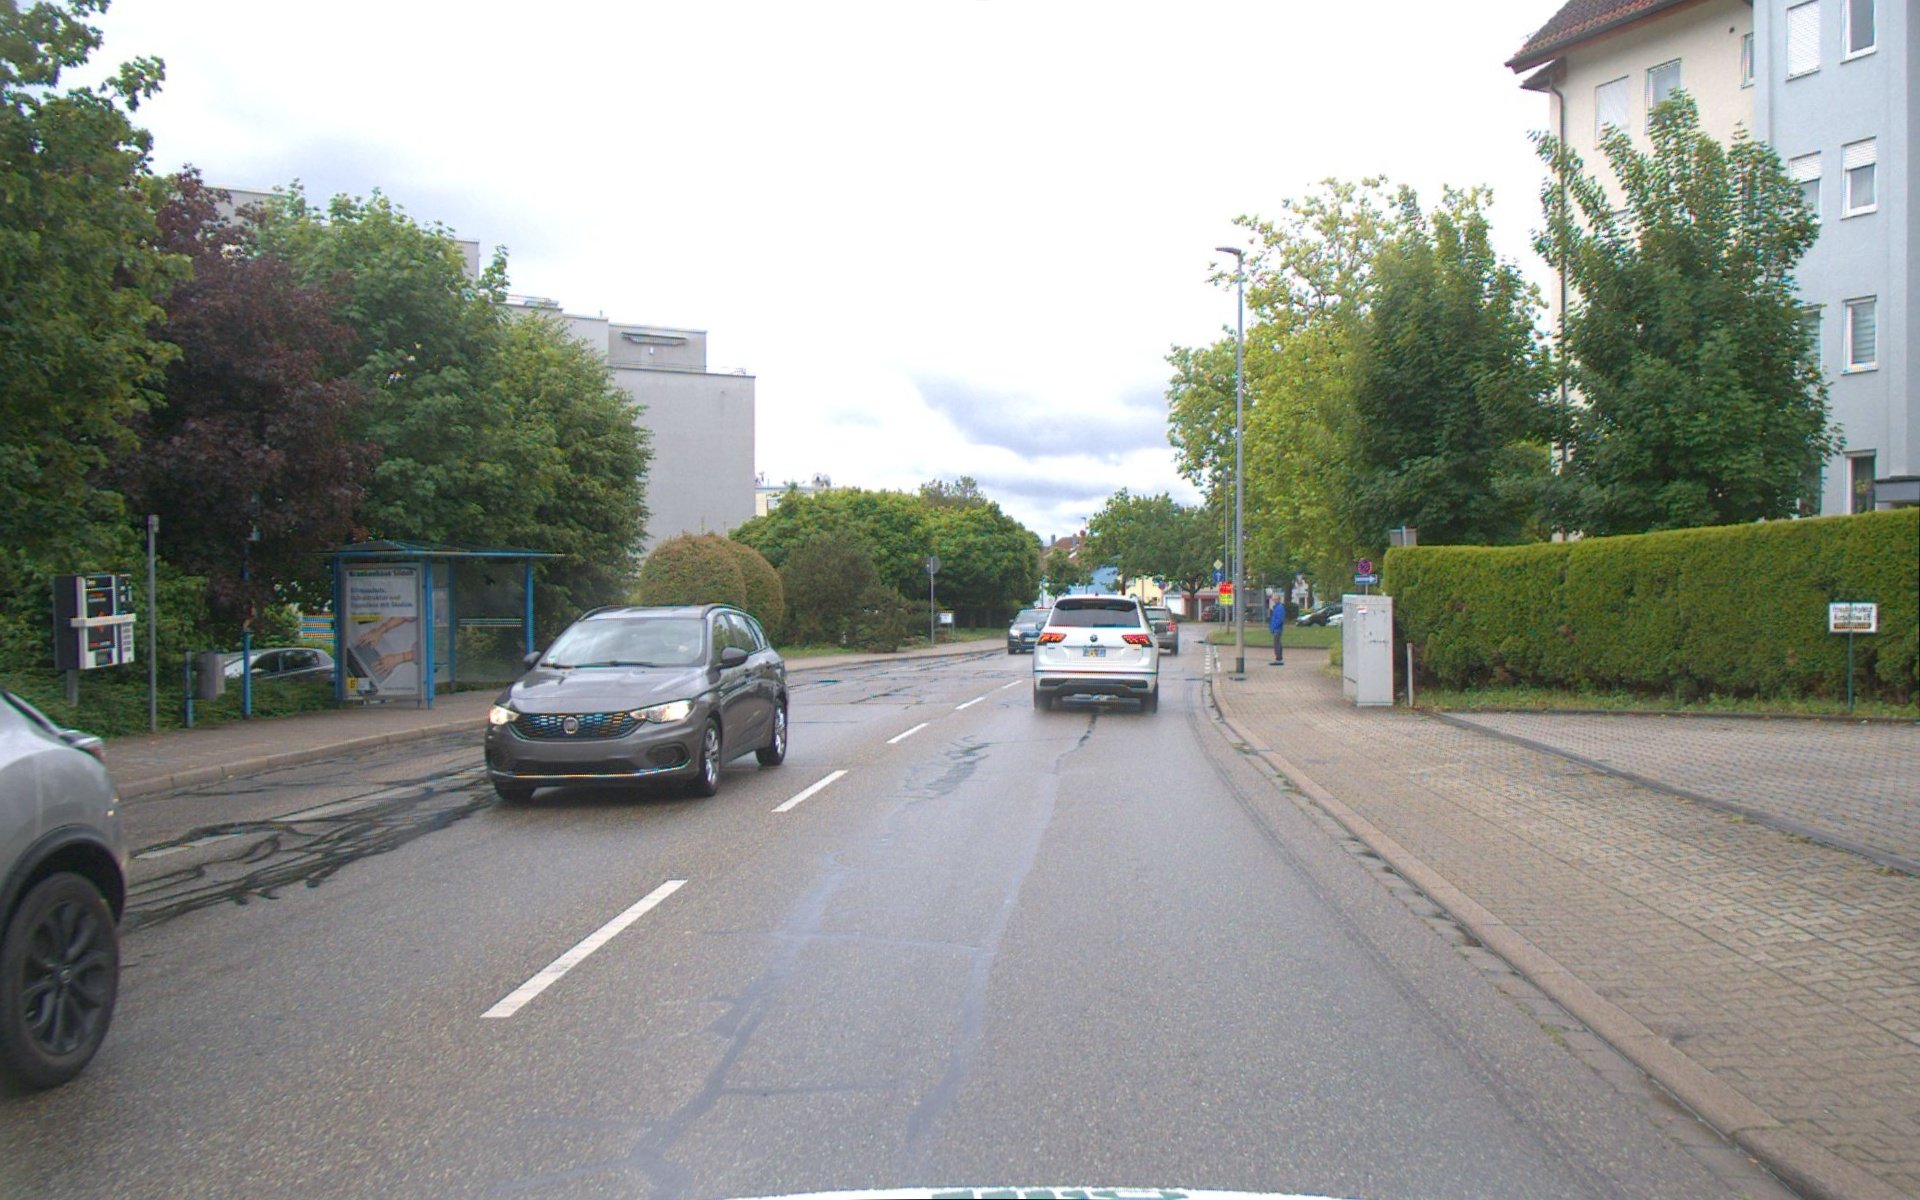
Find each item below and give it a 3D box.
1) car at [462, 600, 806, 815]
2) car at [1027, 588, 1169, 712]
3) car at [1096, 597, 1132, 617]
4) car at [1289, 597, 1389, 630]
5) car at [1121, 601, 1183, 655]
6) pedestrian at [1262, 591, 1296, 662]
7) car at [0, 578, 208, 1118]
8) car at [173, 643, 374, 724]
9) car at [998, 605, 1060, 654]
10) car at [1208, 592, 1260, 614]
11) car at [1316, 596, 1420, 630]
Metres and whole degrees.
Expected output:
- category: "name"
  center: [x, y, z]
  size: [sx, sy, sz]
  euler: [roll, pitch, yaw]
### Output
- category: "car"
  center: [-2.614, 0.797, 14.327]
  size: [1.738, 1.499, 4.253]
  euler: [-2, 0, 5]
- category: "car"
  center: [2.160, 0.693, 24.888]
  size: [1.825, 1.679, 4.003]
  euler: [-1, 0, 9]
- category: "car"
  center: [11.540, 0.518, 124.449]
  size: [1.955, 1.445, 3.994]
  euler: [0, 0, -6]
- category: "car"
  center: [18.317, 0.644, 80.146]
  size: [4.477, 1.468, 1.765]
  euler: [-1, 0, 3]
- category: "car"
  center: [5.866, 0.837, 50.848]
  size: [1.732, 1.578, 4.002]
  euler: [-1, 0, 5]
- category: "pedestrian"
  center: [7.705, 0.634, 39.987]
  size: [0.578, 1.695, 0.774]
  euler: [1, 0, -8]
- category: "car"
  center: [-3.614, 0.733, 3.989]
  size: [1.629, 1.552, 4.001]
  euler: [-1, 0, 2]
- category: "car"
  center: [-14.335, 1.712, 34.823]
  size: [1.951, 1.446, 4.170]
  euler: [-1, 0, 10]
- category: "car"
  center: [2.282, 0.944, 53.861]
  size: [1.638, 1.468, 4.003]
  euler: [-1, 0, 8]
- category: "car"
  center: [23.143, 0.263, 139.680]
  size: [3.941, 1.751, 1.907]
  euler: [0, 0, -28]
- category: "car"
  center: [19.064, 0.594, 77.439]
  size: [4.477, 1.468, 1.765]
  euler: [-1, 0, 3]
